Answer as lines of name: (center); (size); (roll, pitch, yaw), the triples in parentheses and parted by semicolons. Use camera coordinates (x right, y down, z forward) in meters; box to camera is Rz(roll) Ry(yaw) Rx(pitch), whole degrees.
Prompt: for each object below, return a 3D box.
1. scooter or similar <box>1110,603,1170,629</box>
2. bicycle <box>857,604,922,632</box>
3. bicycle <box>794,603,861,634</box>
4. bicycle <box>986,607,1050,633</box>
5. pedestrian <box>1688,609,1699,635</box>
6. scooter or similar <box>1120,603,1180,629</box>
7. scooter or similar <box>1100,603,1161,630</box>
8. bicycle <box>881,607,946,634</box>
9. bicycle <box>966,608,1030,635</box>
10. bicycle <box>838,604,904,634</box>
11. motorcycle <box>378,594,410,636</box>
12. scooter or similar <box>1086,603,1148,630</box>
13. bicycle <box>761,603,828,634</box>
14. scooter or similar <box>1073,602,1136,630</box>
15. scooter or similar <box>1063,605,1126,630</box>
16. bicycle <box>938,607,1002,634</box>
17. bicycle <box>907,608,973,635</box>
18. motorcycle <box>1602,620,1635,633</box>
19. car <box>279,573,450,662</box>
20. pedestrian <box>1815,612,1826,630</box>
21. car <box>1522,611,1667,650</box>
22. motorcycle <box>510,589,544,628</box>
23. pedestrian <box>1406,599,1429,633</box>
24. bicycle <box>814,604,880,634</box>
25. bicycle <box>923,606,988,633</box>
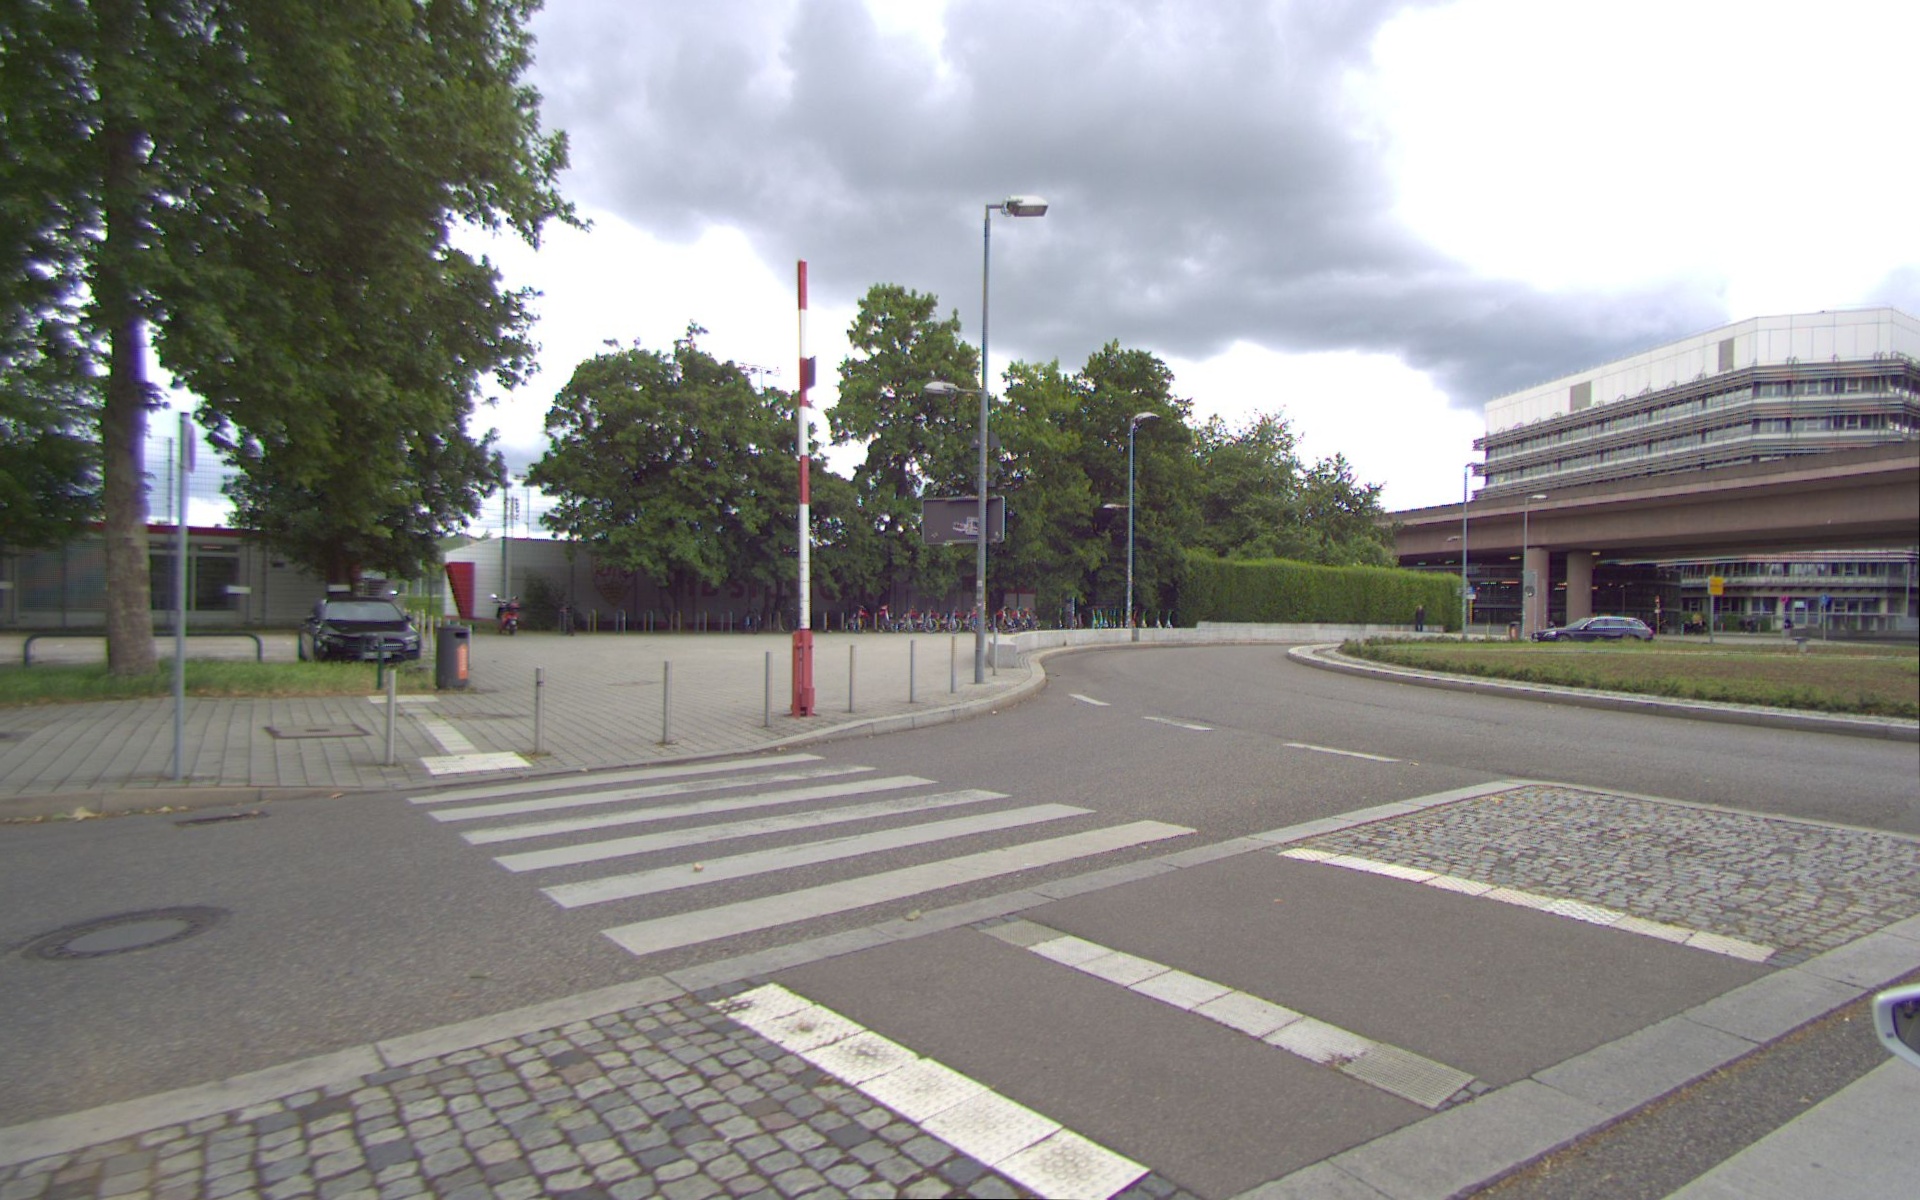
scooter or similar: (9.481, 0.836, 53.002); (3.144, 1.266, 0.769); (2, 0, 40)
bicycle: (-3.043, 0.760, 43.120); (3.144, 1.112, 0.769); (2, 0, 40)
bicycle: (-5.399, 0.744, 40.799); (3.144, 1.112, 0.769); (2, 0, 41)
bicycle: (2.691, 0.913, 47.217); (3.144, 1.112, 0.769); (2, 0, 40)
pedestrian: (56.839, 1.700, 77.839); (0.582, 2.040, 0.595); (2, 0, 44)
scooter or similar: (10.096, 0.854, 53.591); (3.144, 1.266, 0.769); (2, 0, 40)
scooter or similar: (8.830, 0.851, 52.095); (3.144, 1.266, 0.769); (2, 0, 40)
bicycle: (-2.036, 0.875, 43.664); (3.144, 1.112, 0.769); (1, 0, 40)
bicycle: (1.752, 0.973, 46.461); (3.144, 1.112, 0.769); (2, 0, 40)
bicycle: (-3.784, 0.795, 42.489); (3.144, 1.112, 0.769); (2, 0, 41)
motorcycle: (-17.862, 0.446, 31.757); (0.763, 1.238, 3.645); (1, 0, -28)
scooter or similar: (7.928, 0.827, 50.950); (3.144, 1.266, 0.769); (2, 0, 40)
bicycle: (-6.509, 0.711, 39.331); (3.144, 1.112, 0.769); (2, 0, 41)
scooter or similar: (7.187, 0.790, 50.112); (3.144, 1.266, 0.769); (2, 0, 40)
scooter or similar: (6.600, 0.842, 49.373); (3.144, 1.112, 0.769); (2, 0, 40)
bicycle: (0.417, 0.934, 45.772); (3.144, 1.112, 0.769); (2, 0, 40)
bicycle: (-0.889, 0.935, 43.931); (3.144, 1.112, 0.769); (-1, -1, 40)
motorcycle: (63.447, 2.563, 96.770); (1.021, 1.127, 2.654); (2, 0, -13)
car: (-12.249, 0.339, 20.558); (2.217, 1.627, 3.949); (2, -1, -43)
pedestrian: (96.942, 2.358, 113.183); (0.664, 2.040, 0.771); (1, 0, -34)
car: (27.270, 1.288, 43.318); (4.834, 1.480, 2.001); (2, 0, 11)
motorcycle: (-14.645, 0.249, 33.921); (0.763, 1.238, 3.645); (1, 0, -28)
pedestrian: (27.454, 0.959, 60.283); (1.032, 2.040, 0.595); (2, 0, 44)
bicycle: (-4.706, 0.768, 41.483); (3.144, 1.112, 0.769); (2, 0, 41)
bicycle: (-0.239, 0.869, 44.909); (3.144, 1.112, 0.769); (2, 0, 40)
